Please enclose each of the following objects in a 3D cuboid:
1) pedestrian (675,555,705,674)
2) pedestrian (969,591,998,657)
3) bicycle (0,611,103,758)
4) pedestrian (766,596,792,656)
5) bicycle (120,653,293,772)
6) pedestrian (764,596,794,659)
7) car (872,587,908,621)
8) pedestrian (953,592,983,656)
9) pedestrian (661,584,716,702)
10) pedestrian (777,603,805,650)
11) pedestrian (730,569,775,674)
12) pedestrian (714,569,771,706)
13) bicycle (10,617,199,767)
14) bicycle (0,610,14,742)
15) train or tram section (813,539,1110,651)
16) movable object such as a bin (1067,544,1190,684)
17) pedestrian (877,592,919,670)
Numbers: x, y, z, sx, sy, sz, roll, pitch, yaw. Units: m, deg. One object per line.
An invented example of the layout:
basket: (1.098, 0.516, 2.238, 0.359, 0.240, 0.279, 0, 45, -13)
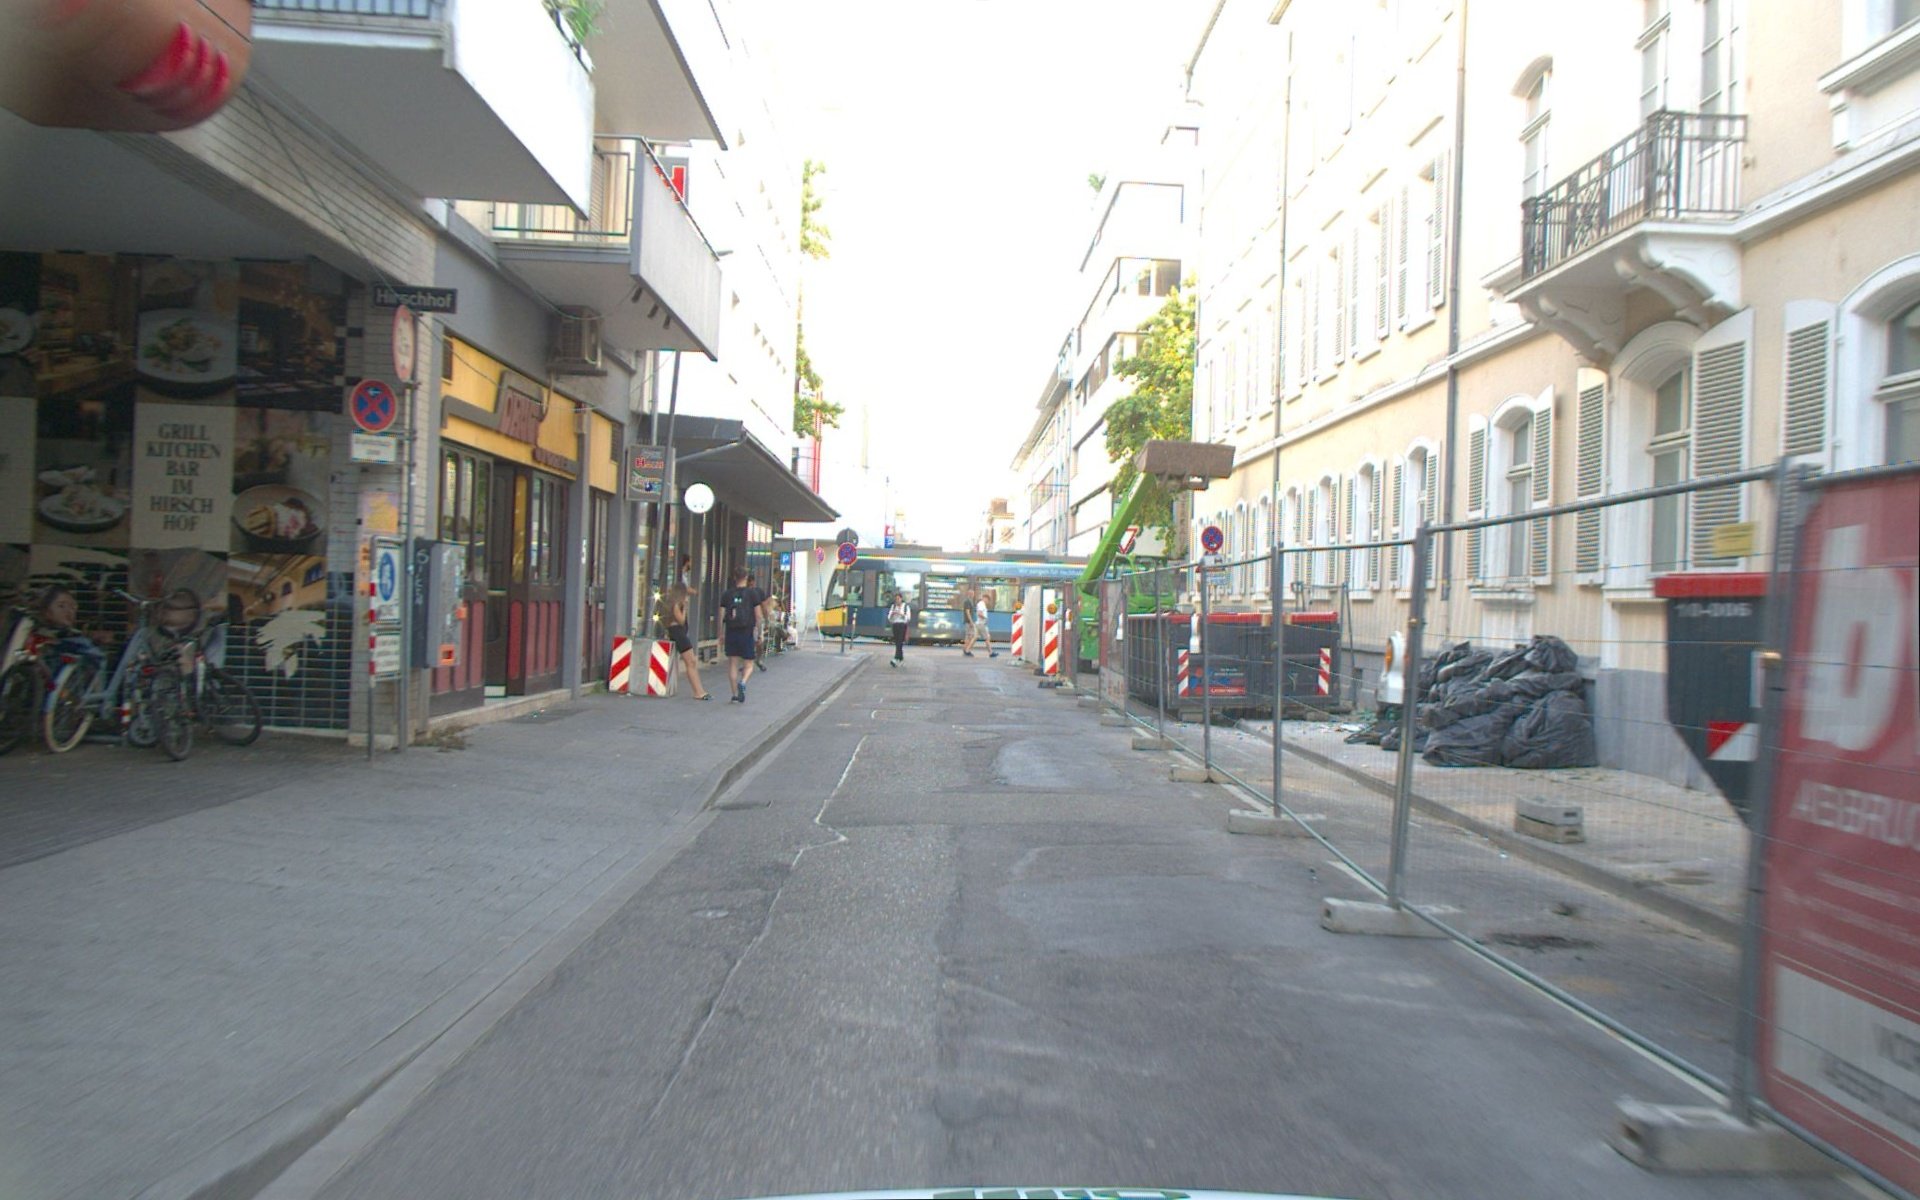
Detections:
pedestrian: (-4.726, 0.257, 28.918, 0.402, 2.049, 0.453, 2, 0, -4)
pedestrian: (0.667, 0.684, 47.080, 0.635, 1.841, 0.628, 2, 0, -17)
bicycle: (-7.119, 0.613, 12.301, 0.511, 1.027, 1.858, 2, 0, -1)
pedestrian: (-4.366, 0.631, 39.952, 0.531, 1.412, 0.625, 2, 0, -1)
bicycle: (-5.692, 0.823, 12.598, 0.511, 0.774, 1.747, 2, 0, -1)
pedestrian: (-4.259, 0.648, 38.941, 0.547, 1.414, 0.892, 3, 1, -1)
car: (-3.046, 0.172, 72.541, 1.444, 1.422, 3.331, 2, 0, -1)
pedestrian: (0.229, 0.699, 48.065, 0.635, 1.841, 0.628, 2, 0, -17)
pedestrian: (-3.739, 0.582, 22.749, 0.635, 1.592, 0.628, 2, 0, -16)
pedestrian: (-4.382, 0.678, 42.914, 0.605, 1.192, 0.787, 2, 0, -2)
pedestrian: (-3.877, 0.394, 30.872, 0.645, 1.919, 0.570, 2, 0, -21)
pedestrian: (-2.973, 0.507, 22.654, 0.616, 1.840, 0.647, 2, 0, 0)
bicycle: (-6.441, 0.656, 12.547, 0.511, 1.027, 1.747, 2, 0, -1)
bicycle: (-7.719, 0.584, 12.101, 0.511, 1.027, 1.858, 2, 0, -1)
train or tram section: (0.032, -0.166, 59.370, 10.275, 3.520, 2.999, 2, 0, -2)
movable object such as a bin: (4.124, 0.303, 41.321, 2.420, 3.185, 4.297, 3, 1, -1)
pedestrian: (-1.436, 0.711, 38.274, 0.705, 1.770, 0.647, 2, 0, 22)
